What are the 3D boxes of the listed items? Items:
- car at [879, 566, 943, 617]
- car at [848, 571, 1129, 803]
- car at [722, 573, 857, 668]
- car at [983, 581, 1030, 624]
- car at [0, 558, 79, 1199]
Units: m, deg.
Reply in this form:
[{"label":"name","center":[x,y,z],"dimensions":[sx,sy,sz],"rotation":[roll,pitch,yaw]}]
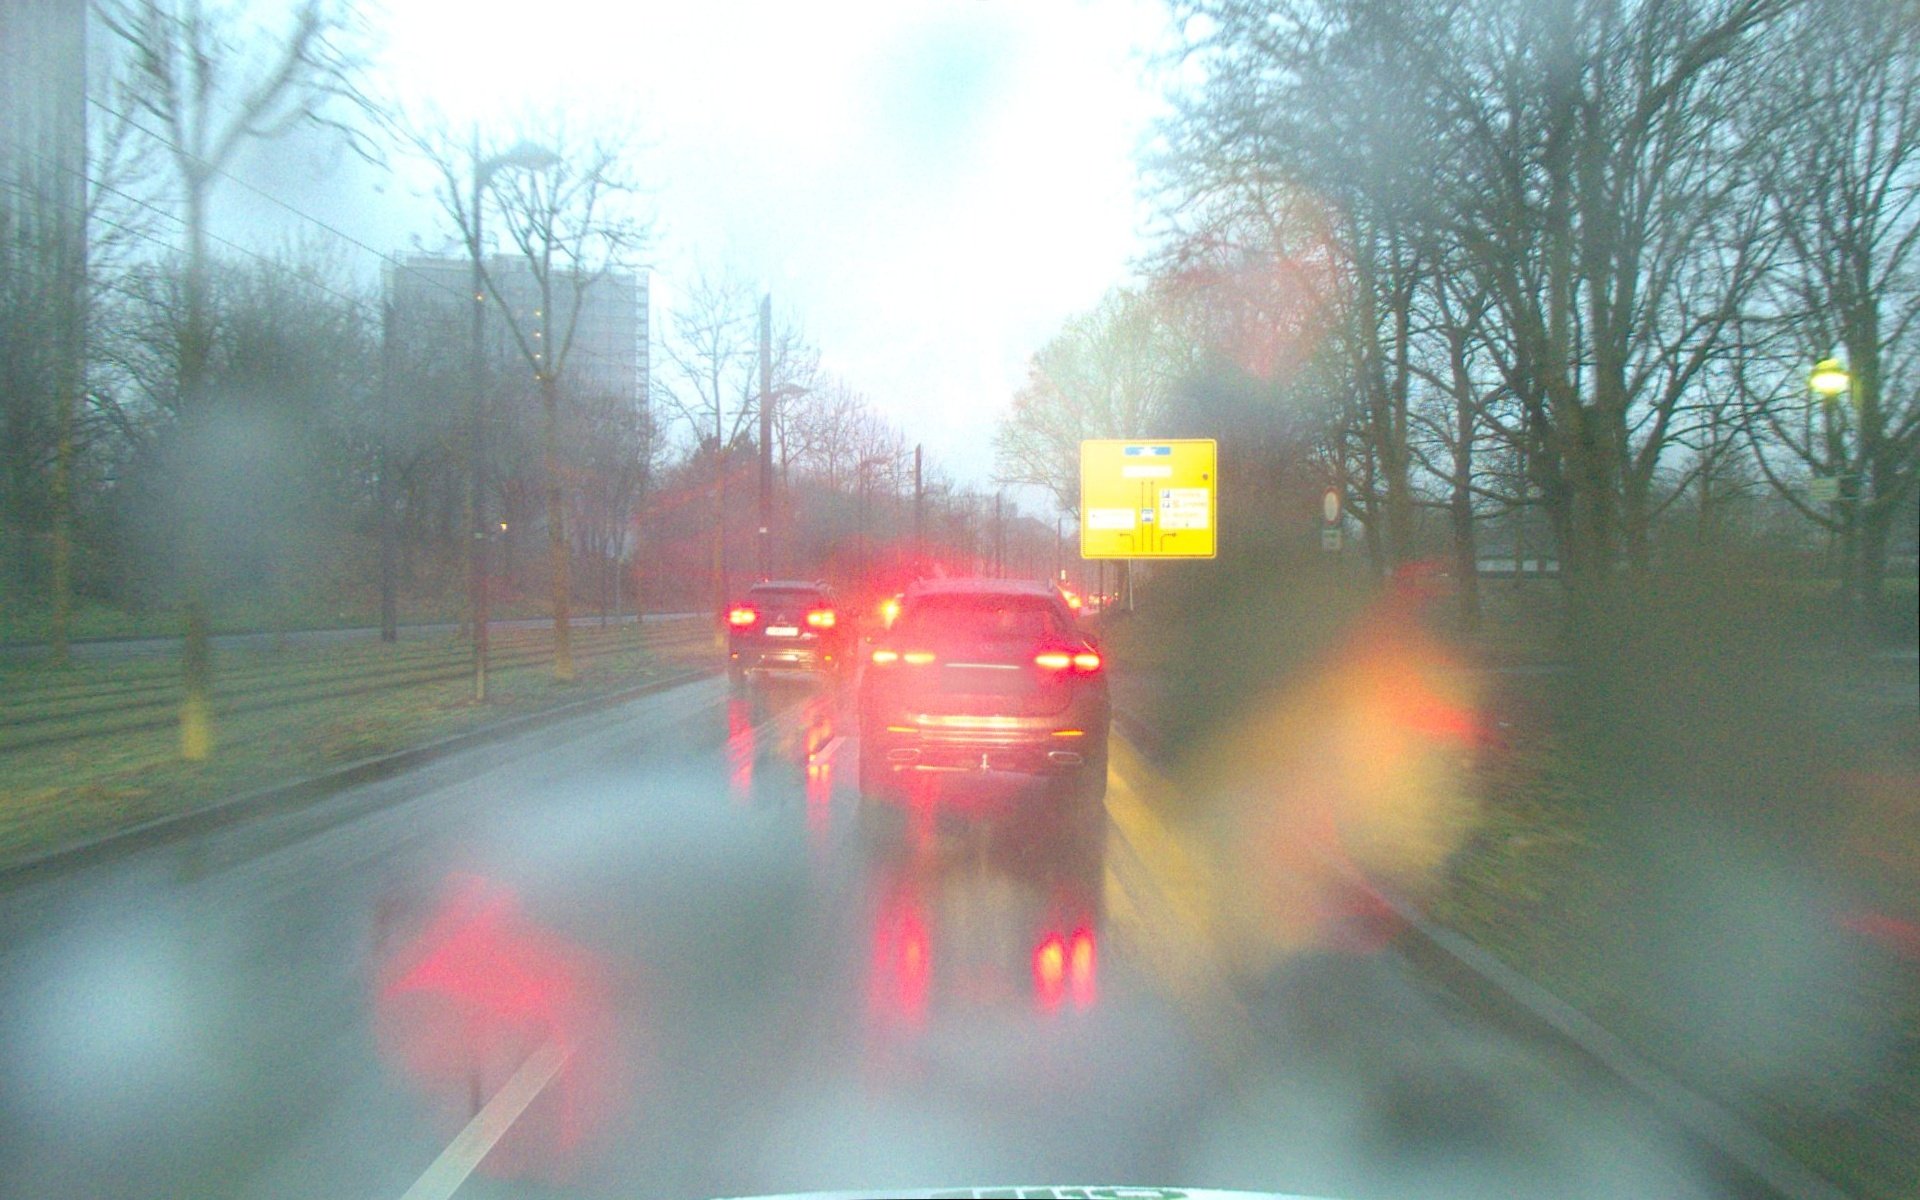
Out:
[{"label":"car","center":[-1.608,-0.303,55.407],"dimensions":[1.841,1.621,4.002],"rotation":[0,1,3]},{"label":"car","center":[0.150,0.587,13.632],"dimensions":[1.958,1.611,3.999],"rotation":[1,1,-2]},{"label":"car","center":[-2.789,0.298,27.870],"dimensions":[1.841,1.485,4.000],"rotation":[0,1,0]},{"label":"car","center":[1.770,0.080,62.140],"dimensions":[1.673,1.585,3.998],"rotation":[0,0,3]},{"label":"car","center":[-3.028,0.687,2.045],"dimensions":[1.674,1.551,4.134],"rotation":[0,0,0]}]
